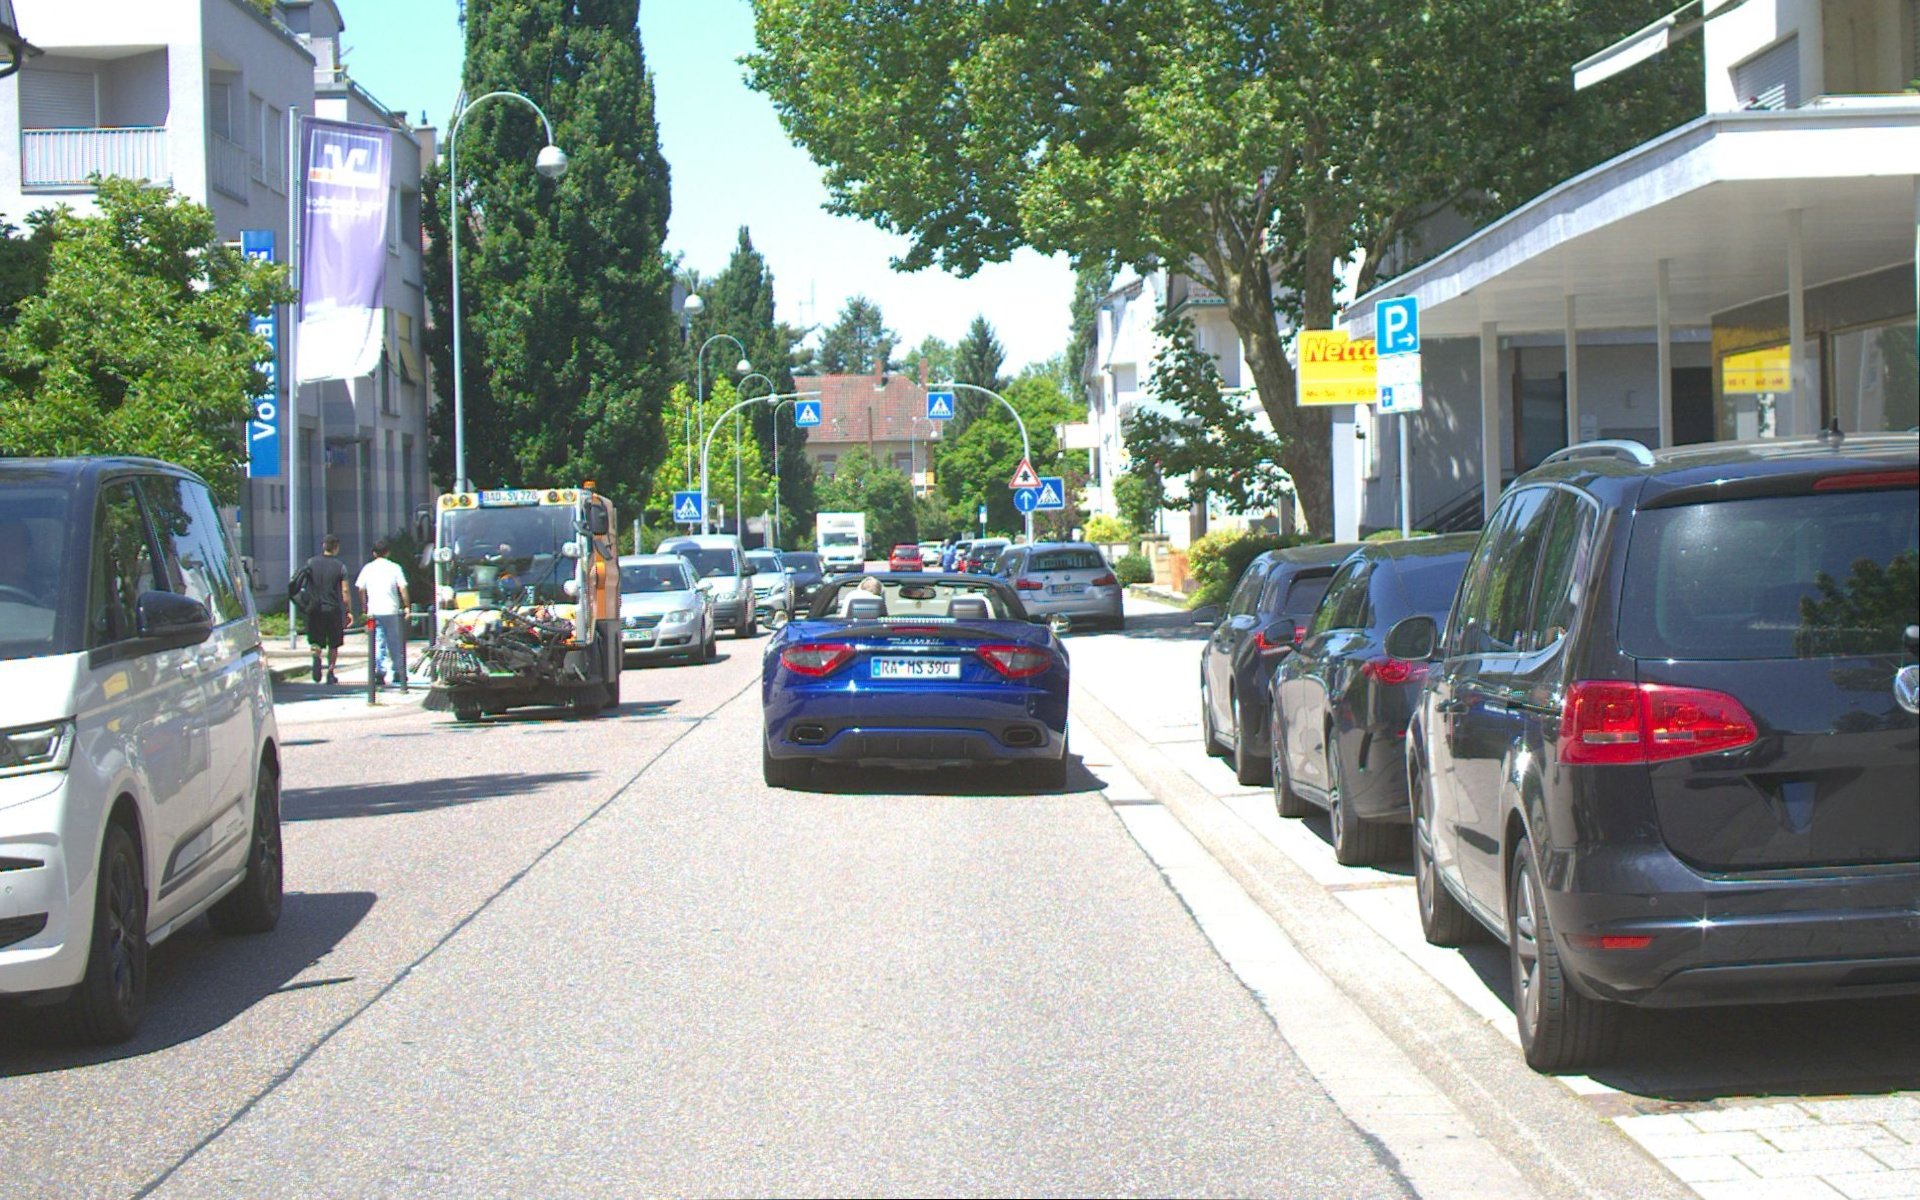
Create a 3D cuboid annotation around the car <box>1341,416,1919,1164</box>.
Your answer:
[{"bbox_3d":[2.438,0.357,10.773,1.993,1.792,4.569,-3,3,1],"label":"car"}]

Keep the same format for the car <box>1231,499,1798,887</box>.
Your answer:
[{"bbox_3d":[2.492,0.367,16.606,1.894,1.525,4.569,-3,1,0],"label":"car"}]

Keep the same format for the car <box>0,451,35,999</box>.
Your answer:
[{"bbox_3d":[-4.230,0.502,9.986,1.906,1.916,4.906,-3,1,-3],"label":"car"}]
